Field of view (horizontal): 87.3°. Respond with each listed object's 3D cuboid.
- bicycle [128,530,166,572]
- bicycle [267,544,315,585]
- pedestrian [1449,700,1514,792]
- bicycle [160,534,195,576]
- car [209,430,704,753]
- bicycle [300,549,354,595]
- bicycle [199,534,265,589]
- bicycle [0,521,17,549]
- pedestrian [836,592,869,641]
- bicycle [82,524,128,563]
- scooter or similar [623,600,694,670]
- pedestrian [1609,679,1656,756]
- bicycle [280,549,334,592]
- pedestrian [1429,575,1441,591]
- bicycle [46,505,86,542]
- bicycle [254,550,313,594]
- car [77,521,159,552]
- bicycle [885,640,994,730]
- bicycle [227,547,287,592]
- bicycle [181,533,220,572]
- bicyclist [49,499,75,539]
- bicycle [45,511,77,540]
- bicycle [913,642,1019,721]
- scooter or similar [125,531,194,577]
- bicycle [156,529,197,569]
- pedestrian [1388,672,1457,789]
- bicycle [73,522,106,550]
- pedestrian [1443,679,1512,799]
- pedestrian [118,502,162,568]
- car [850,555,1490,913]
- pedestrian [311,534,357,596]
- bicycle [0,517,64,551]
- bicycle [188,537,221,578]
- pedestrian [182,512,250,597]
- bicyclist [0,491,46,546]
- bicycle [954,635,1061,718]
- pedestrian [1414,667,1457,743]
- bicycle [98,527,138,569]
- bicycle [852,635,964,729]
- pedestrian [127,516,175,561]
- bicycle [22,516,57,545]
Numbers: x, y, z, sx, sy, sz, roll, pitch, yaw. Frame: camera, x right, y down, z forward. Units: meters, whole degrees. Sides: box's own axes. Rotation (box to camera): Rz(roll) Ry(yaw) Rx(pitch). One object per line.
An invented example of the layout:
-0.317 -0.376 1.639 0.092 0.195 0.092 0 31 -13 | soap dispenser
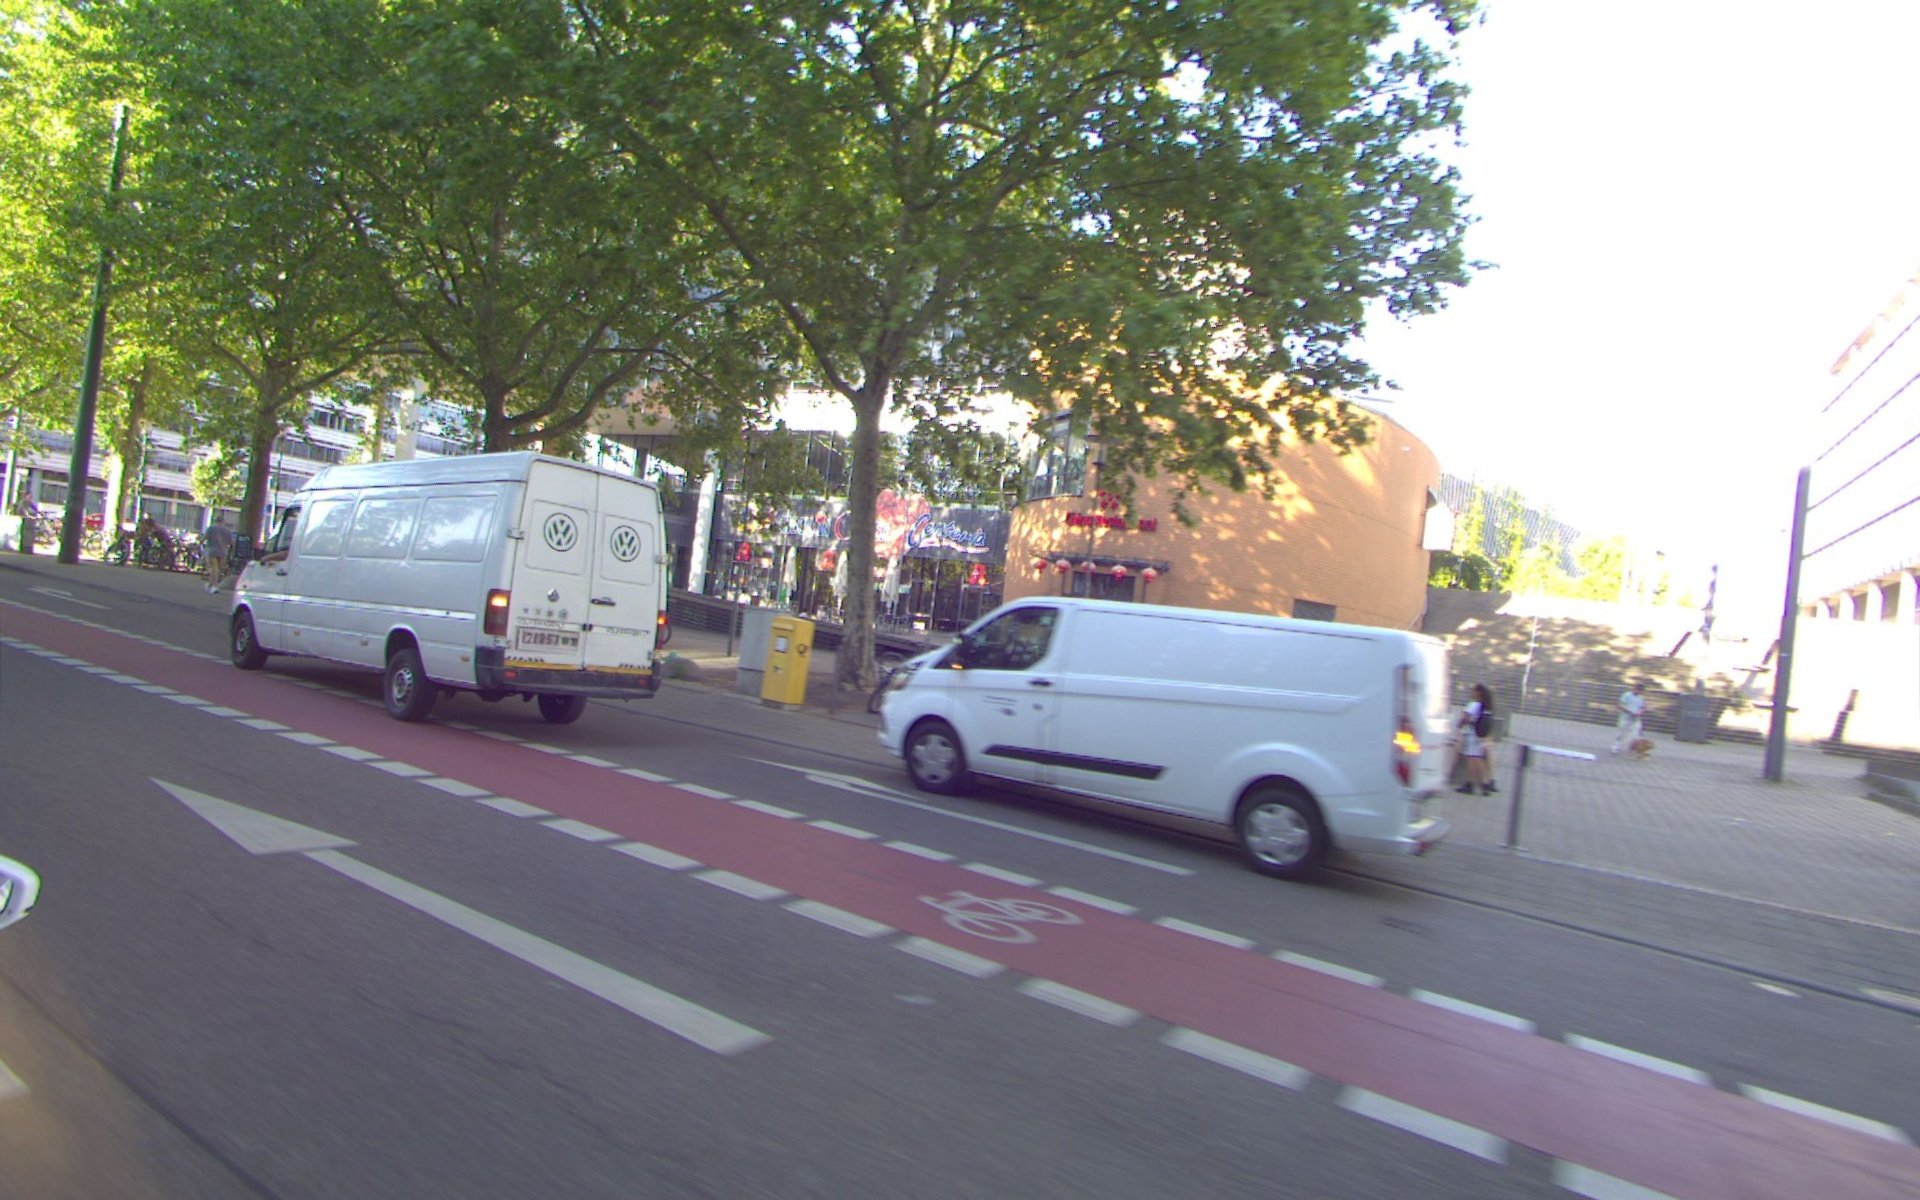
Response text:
-23.683 -1.437 29.328 0.591 1.130 1.932 7 0 -34 | bicycle
-21.935 -1.173 32.986 1.449 1.174 0.422 7 0 20 | bicycle
7.708 2.135 14.859 0.667 1.236 0.614 7 0 35 | pedestrian
-23.095 -1.337 29.719 0.591 1.130 1.810 7 0 -34 | bicycle
-5.903 -0.221 11.256 6.462 2.755 1.995 6 -2 37 | car
-18.368 -0.815 29.187 1.626 1.151 0.503 6 0 28 | bicycle
-19.513 -1.032 26.945 1.844 1.279 0.596 6 0 28 | bicycle
-37.031 -2.534 38.799 1.451 0.990 0.421 7 0 27 | bicycle
-4.375 0.648 40.855 0.985 1.866 0.849 7 0 -17 | pedestrian
-26.911 -1.771 31.662 1.547 1.070 0.628 6 0 35 | bicycle
-5.784 0.677 19.327 0.405 1.239 1.209 7 0 34 | scooter or similar
15.816 2.759 23.671 0.711 1.697 0.539 7 0 31 | pedestrian
-18.650 -0.855 28.716 1.626 1.044 0.503 6 0 28 | bicycle
26.094 -0.941 55.269 0.508 0.834 0.438 7 4 25 | pedestrian
-36.042 -3.096 40.552 1.854 1.302 0.451 7 0 27 | bicycle
-18.937 -0.793 28.169 1.626 1.044 0.596 6 0 28 | bicycle
-61.760 -4.630 73.864 1.767 1.579 4.244 6 -1 34 | car
-0.326 1.298 15.583 1.513 1.172 0.513 7 0 30 | bicycle
-19.247 -0.836 27.546 1.626 1.044 0.596 6 0 28 | bicycle
-25.788 -1.609 34.150 1.451 1.174 0.421 6 0 29 | bicycle
-39.483 -3.562 44.228 0.808 1.636 0.562 7 0 35 | bicyclist
-39.578 -3.271 44.275 1.750 1.140 0.566 6 0 35 | bicycle
0.081 1.309 16.262 1.600 1.042 0.459 6 0 30 | bicycle
-24.649 -1.415 30.991 0.899 1.154 1.260 5 -4 15 | scooter or similar
-26.054 -1.713 33.453 1.451 1.174 0.421 7 0 27 | bicycle
6.609 1.847 14.360 0.628 1.562 0.576 7 0 38 | pedestrian
-35.616 -2.610 41.151 1.451 0.995 0.451 7 0 27 | bicycle
7.183 1.915 13.959 0.626 1.541 0.515 7 0 38 | pedestrian
-23.881 -1.883 29.315 0.801 1.807 0.651 7 0 -35 | pedestrian
1.762 0.953 9.317 5.205 2.160 2.125 6 -1 34 | car
-19.327 -1.079 31.049 0.758 1.778 0.818 7 0 34 | pedestrian
-33.677 -2.408 36.069 2.152 0.944 0.666 8 -1 -17 | bicycle
-22.576 -1.278 30.079 0.602 1.130 1.810 7 0 -34 | bicycle
-17.293 -1.051 23.400 0.795 1.807 0.873 7 0 30 | pedestrian
-33.597 -2.911 36.076 0.839 1.789 0.750 7 0 -17 | bicyclist
0.801 1.296 17.179 1.690 1.193 0.459 6 0 30 | bicycle
9.799 2.158 20.724 0.591 1.474 0.712 7 0 31 | pedestrian
-24.508 -1.515 29.295 0.591 1.130 1.810 7 0 -34 | bicycle
-0.785 1.206 15.001 1.513 1.172 0.513 7 0 30 | bicycle
-37.745 -2.852 46.928 1.023 1.843 1.213 6 -2 23 | pedestrian
-36.582 -2.750 39.975 1.451 0.995 0.451 7 0 27 | bicycle
